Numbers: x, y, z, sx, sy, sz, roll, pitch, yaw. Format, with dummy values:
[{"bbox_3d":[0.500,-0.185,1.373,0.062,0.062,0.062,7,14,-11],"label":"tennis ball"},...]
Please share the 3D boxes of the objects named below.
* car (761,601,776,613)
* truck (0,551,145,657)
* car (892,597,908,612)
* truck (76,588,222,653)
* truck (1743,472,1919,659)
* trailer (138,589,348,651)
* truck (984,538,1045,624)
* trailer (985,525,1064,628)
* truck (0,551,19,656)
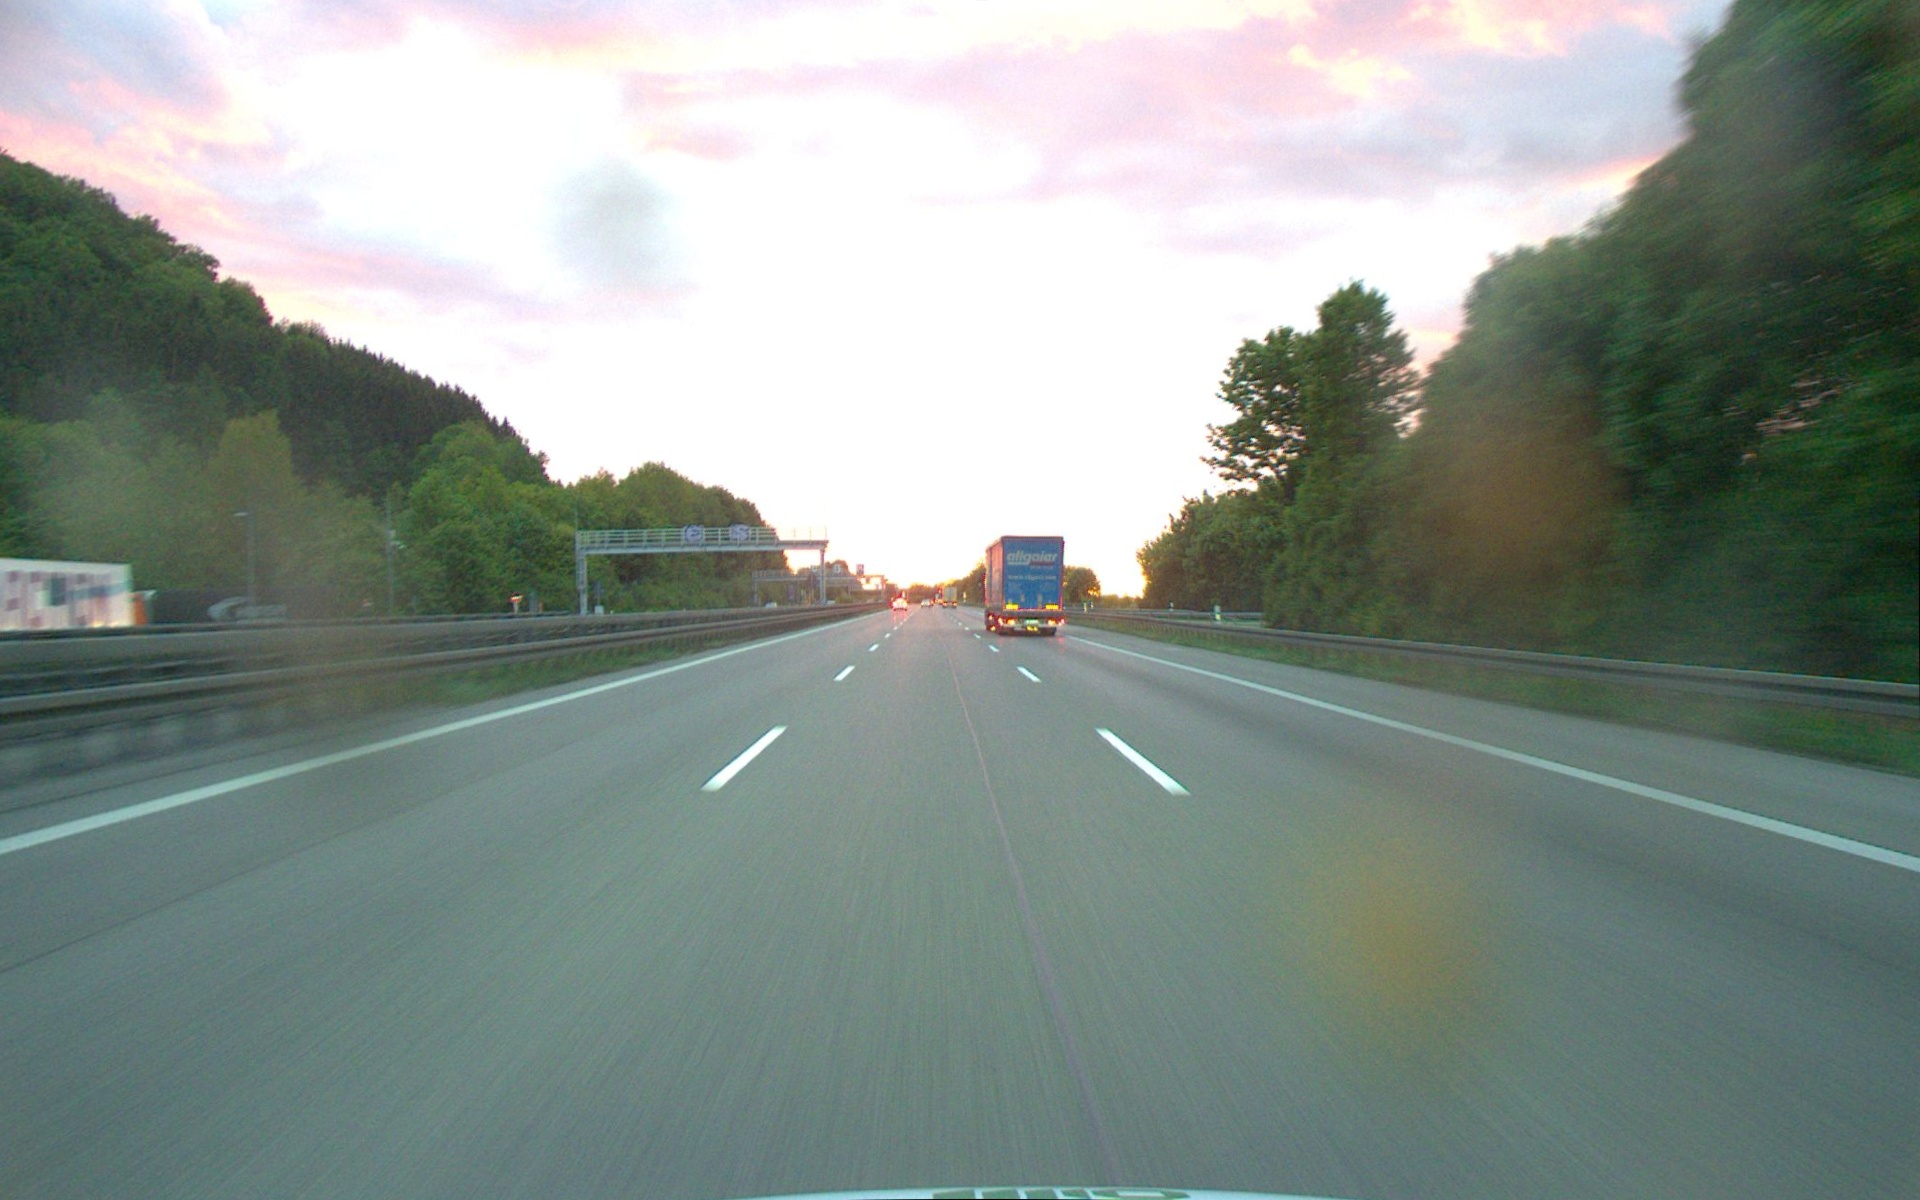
[{"bbox_3d":[-24.438,0.874,210.801,1.608,1.446,3.534,0,0,-2],"label":"car"},{"bbox_3d":[-33.476,0.110,59.341,2.817,3.485,13.774,0,0,-5],"label":"truck"},{"bbox_3d":[-7.946,0.616,219.837,1.973,1.780,3.902,-3,0,-2],"label":"car"},{"bbox_3d":[-49.048,1.202,100.271,2.947,3.743,7.665,0,0,29],"label":"truck"},{"bbox_3d":[24.220,-0.838,35.601,3.701,4.303,19.502,-1,0,-6],"label":"truck"},{"bbox_3d":[-45.745,1.183,106.275,3.003,3.743,13.321,0,0,29],"label":"trailer"},{"bbox_3d":[2.629,-0.876,81.019,2.681,4.066,5.848,1,-1,-1],"label":"truck"},{"bbox_3d":[2.750,-0.914,74.312,2.715,4.158,13.735,1,0,-1],"label":"trailer"},{"bbox_3d":[-32.865,0.111,52.250,2.817,3.485,6.719,0,0,-5],"label":"truck"}]
